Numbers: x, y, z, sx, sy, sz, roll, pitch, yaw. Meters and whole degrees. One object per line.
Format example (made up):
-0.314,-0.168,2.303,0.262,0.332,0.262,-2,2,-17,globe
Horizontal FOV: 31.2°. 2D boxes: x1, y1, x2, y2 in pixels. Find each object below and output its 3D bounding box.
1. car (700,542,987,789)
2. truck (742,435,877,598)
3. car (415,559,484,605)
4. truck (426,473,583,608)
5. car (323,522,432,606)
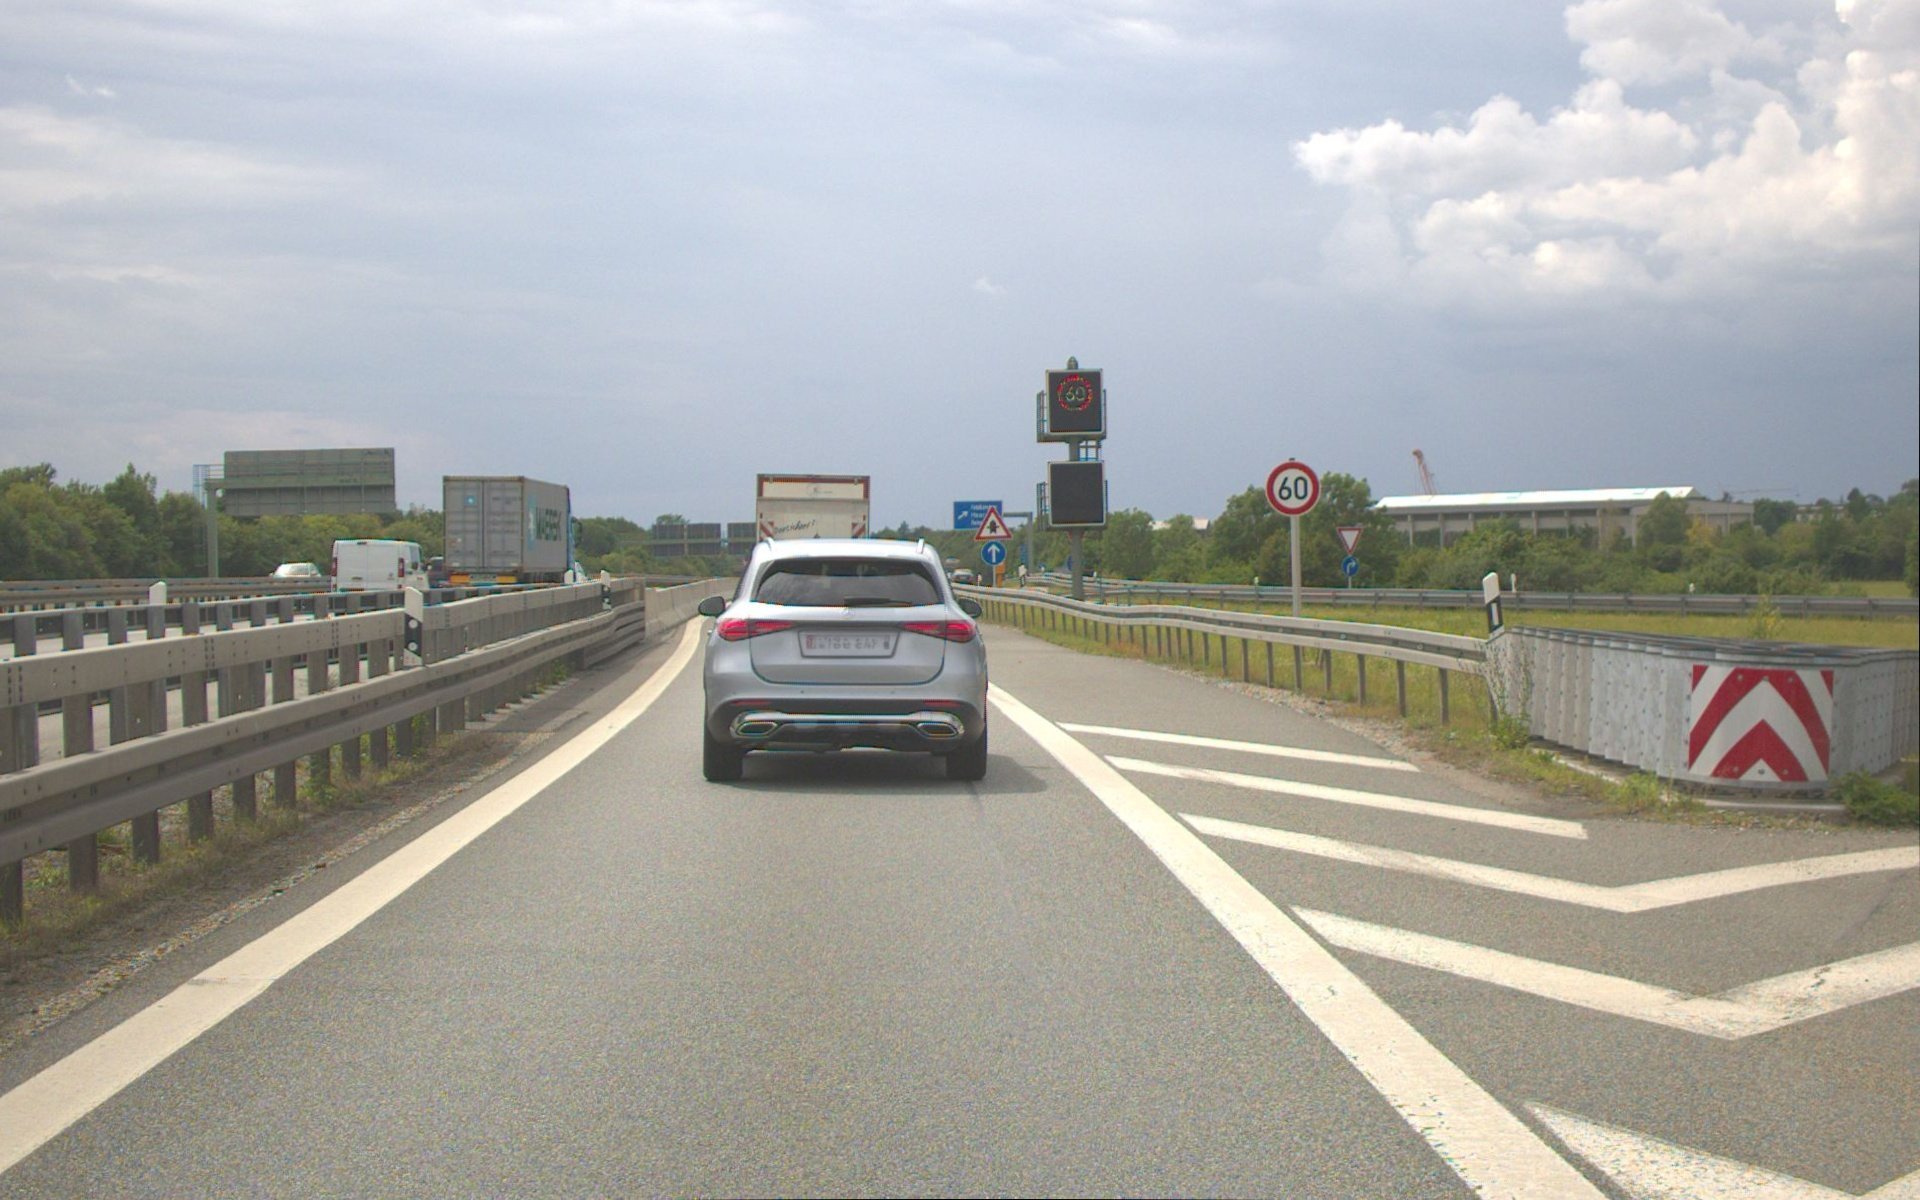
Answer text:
-0.746,0.386,24.011,1.819,1.509,4.000,1,2,0,car
-3.046,-1.639,70.718,2.569,3.115,8.635,1,0,-2,truck
-18.596,-0.661,125.381,1.881,1.541,4.615,1,2,0,car
-14.497,-2.012,110.743,3.183,4.005,16.077,1,2,-1,truck
-14.714,-0.941,87.079,1.993,2.006,4.375,1,2,0,car
